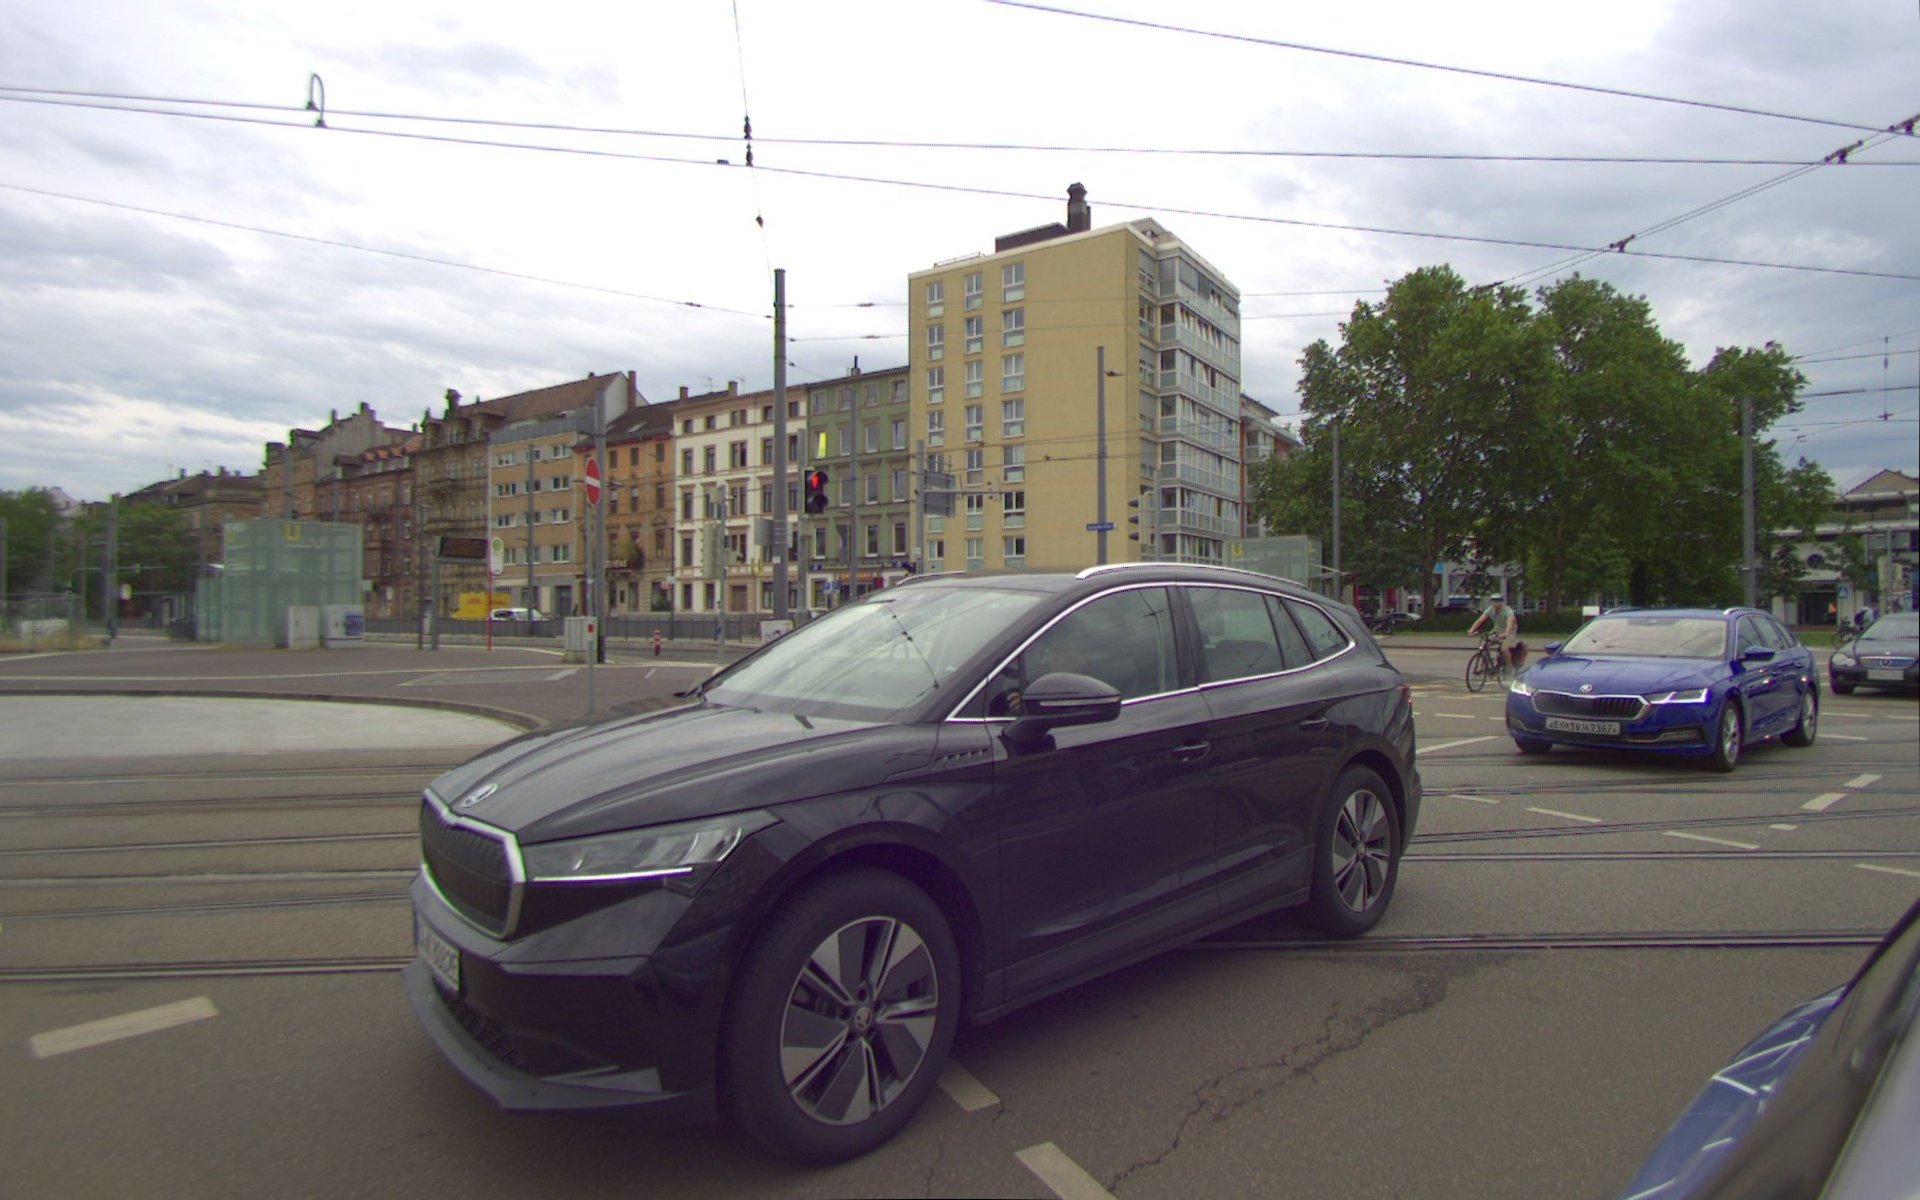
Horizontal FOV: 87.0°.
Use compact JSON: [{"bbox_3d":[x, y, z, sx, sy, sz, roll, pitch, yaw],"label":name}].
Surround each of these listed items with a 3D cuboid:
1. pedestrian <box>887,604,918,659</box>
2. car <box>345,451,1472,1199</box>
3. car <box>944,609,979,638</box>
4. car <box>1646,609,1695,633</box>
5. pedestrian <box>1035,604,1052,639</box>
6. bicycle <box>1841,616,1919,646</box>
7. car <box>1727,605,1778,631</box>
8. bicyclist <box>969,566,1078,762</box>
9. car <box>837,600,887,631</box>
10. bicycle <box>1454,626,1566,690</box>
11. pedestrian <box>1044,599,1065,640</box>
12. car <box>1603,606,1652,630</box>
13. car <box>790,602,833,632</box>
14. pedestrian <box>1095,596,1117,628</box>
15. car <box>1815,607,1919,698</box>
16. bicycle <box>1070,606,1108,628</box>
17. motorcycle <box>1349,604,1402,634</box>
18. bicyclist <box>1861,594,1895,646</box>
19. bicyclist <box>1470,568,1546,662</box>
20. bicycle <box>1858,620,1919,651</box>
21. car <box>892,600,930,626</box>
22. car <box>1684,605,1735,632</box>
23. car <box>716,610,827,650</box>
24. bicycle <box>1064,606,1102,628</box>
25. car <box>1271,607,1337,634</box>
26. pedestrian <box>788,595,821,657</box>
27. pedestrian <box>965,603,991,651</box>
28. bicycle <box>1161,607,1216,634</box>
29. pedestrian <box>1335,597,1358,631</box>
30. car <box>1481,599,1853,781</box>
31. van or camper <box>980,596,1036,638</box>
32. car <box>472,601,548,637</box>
[{"bbox_3d":[-1.784,0.959,31.437,0.772,1.664,0.901,0,-1,12],"label":"pedestrian"},{"bbox_3d":[0.205,0.566,4.178,4.436,1.679,1.906,1,-1,-41],"label":"car"},{"bbox_3d":[0.054,1.205,52.839,1.702,1.435,3.739,-1,0,-2],"label":"car"},{"bbox_3d":[57.606,1.681,82.063,4.153,1.484,1.957,-6,3,-35],"label":"car"},{"bbox_3d":[4.195,1.090,50.919,0.604,1.737,0.826,1,0,-14],"label":"pedestrian"},{"bbox_3d":[32.465,1.098,35.753,1.983,1.011,0.571,-2,-5,40],"label":"bicycle"},{"bbox_3d":[60.886,1.363,77.693,4.155,1.473,1.957,-9,5,-35],"label":"car"},{"bbox_3d":[0.585,0.566,9.352,0.790,1.712,0.617,1,-2,-34],"label":"bicyclist"},{"bbox_3d":[-5.364,0.810,54.899,1.852,1.602,3.745,0,-1,-19],"label":"car"},{"bbox_3d":[9.889,1.025,18.185,1.975,1.093,0.764,0,-2,-27],"label":"bicycle"},{"bbox_3d":[4.152,0.829,44.415,0.776,1.779,1.045,0,0,13],"label":"pedestrian"},{"bbox_3d":[55.613,1.509,84.287,4.154,1.530,1.957,-7,3,-35],"label":"car"},{"bbox_3d":[-8.325,0.937,56.593,1.699,1.608,3.745,0,-1,-19],"label":"car"},{"bbox_3d":[7.965,0.658,55.121,0.900,1.759,0.803,0,-1,34],"label":"pedestrian"},{"bbox_3d":[16.442,0.832,17.113,4.335,1.388,1.772,1,0,-32],"label":"car"},{"bbox_3d":[7.272,0.965,57.154,2.024,1.184,0.662,0,-1,32],"label":"bicycle"},{"bbox_3d":[19.710,0.884,47.970,2.270,1.383,1.037,1,0,27],"label":"motorcycle"},{"bbox_3d":[32.441,0.706,35.773,0.731,1.775,0.577,-4,-7,39],"label":"bicyclist"},{"bbox_3d":[9.858,0.271,18.220,0.914,1.639,0.792,0,-3,-28],"label":"bicyclist"},{"bbox_3d":[33.869,1.283,36.638,0.592,1.010,1.943,1,2,-43],"label":"bicycle"},{"bbox_3d":[-2.609,0.684,53.030,1.646,1.320,3.743,0,0,-9],"label":"car"},{"bbox_3d":[59.085,1.418,79.759,4.154,1.616,1.957,-7,4,-35],"label":"car"},{"bbox_3d":[-7.622,1.172,40.724,4.420,1.505,1.973,0,-1,38],"label":"car"},{"bbox_3d":[6.883,0.956,56.587,2.024,1.184,0.662,0,-1,32],"label":"bicycle"},{"bbox_3d":[23.059,1.356,67.762,3.961,1.745,1.981,1,0,27],"label":"car"},{"bbox_3d":[-4.988,0.826,32.488,0.772,1.936,0.901,0,-1,12],"label":"pedestrian"},{"bbox_3d":[0.624,0.925,35.185,0.772,1.622,0.893,0,-1,12],"label":"pedestrian"},{"bbox_3d":[12.235,1.075,54.225,2.768,1.395,0.891,0,-1,37],"label":"bicycle"},{"bbox_3d":[20.949,0.761,54.830,0.863,1.842,0.884,0,-1,43],"label":"pedestrian"},{"bbox_3d":[7.293,0.739,10.252,4.669,1.454,1.770,1,-1,-38],"label":"car"},{"bbox_3d":[2.340,0.845,51.135,2.129,2.004,5.470,0,-1,-4],"label":"van or camper"},{"bbox_3d":[-23.240,0.960,52.241,3.978,1.772,1.973,-1,-1,38],"label":"car"}]
